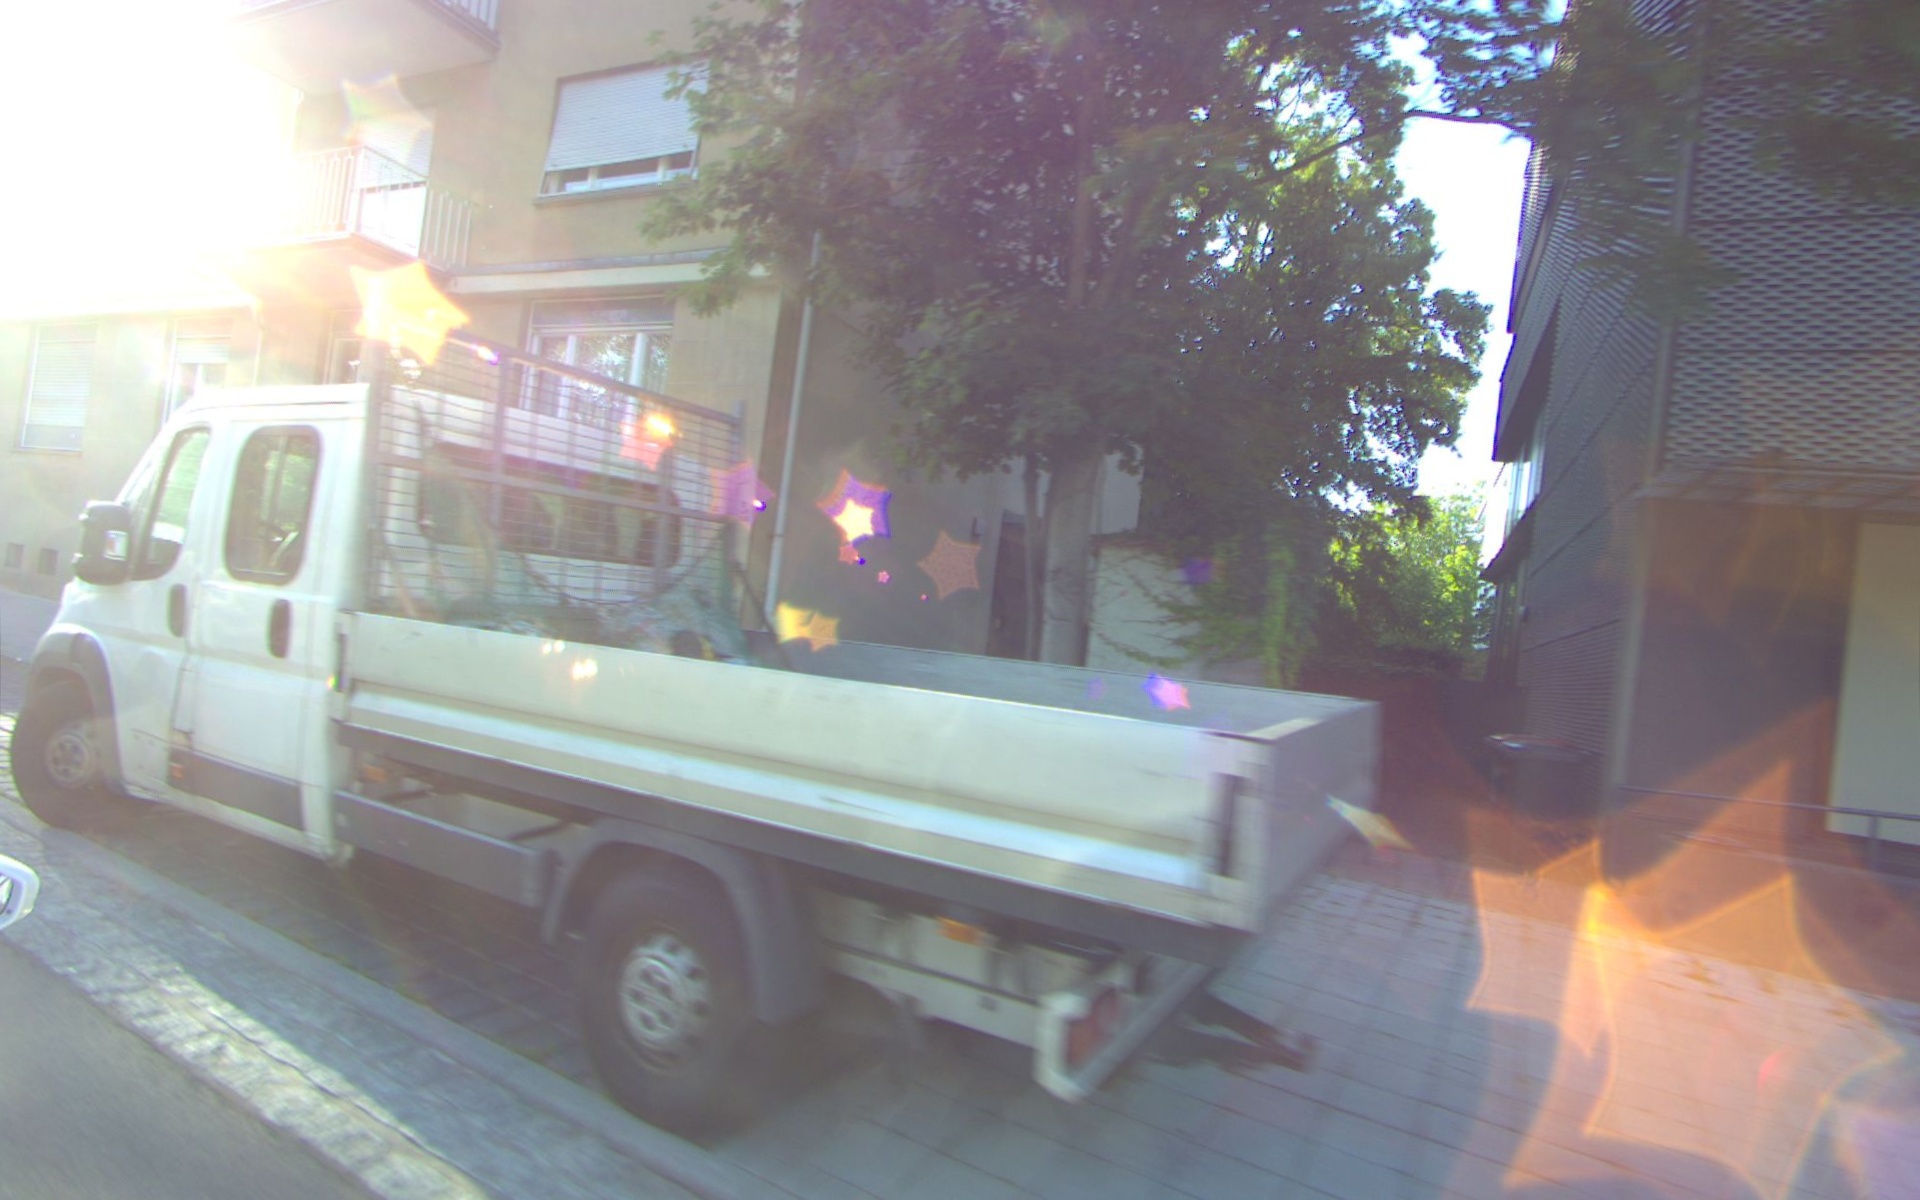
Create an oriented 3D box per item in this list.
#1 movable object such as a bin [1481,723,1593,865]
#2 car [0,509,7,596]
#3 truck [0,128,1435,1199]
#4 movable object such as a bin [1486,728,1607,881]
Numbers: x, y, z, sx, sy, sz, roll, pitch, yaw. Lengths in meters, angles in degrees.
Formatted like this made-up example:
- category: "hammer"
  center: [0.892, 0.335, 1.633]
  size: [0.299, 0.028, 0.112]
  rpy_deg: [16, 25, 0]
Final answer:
- category: "movable object such as a bin"
  center: [5.440, 1.808, 9.534]
  size: [0.755, 1.159, 0.660]
  rpy_deg: [6, -1, 24]
- category: "car"
  center: [-11.278, -0.366, 9.834]
  size: [3.967, 1.438, 1.705]
  rpy_deg: [6, 0, 29]
- category: "truck"
  center: [-1.749, 0.158, 4.580]
  size: [6.759, 2.594, 2.133]
  rpy_deg: [6, -2, 29]
- category: "movable object such as a bin"
  center: [5.165, 1.779, 8.905]
  size: [0.755, 1.159, 0.660]
  rpy_deg: [6, -1, 24]
